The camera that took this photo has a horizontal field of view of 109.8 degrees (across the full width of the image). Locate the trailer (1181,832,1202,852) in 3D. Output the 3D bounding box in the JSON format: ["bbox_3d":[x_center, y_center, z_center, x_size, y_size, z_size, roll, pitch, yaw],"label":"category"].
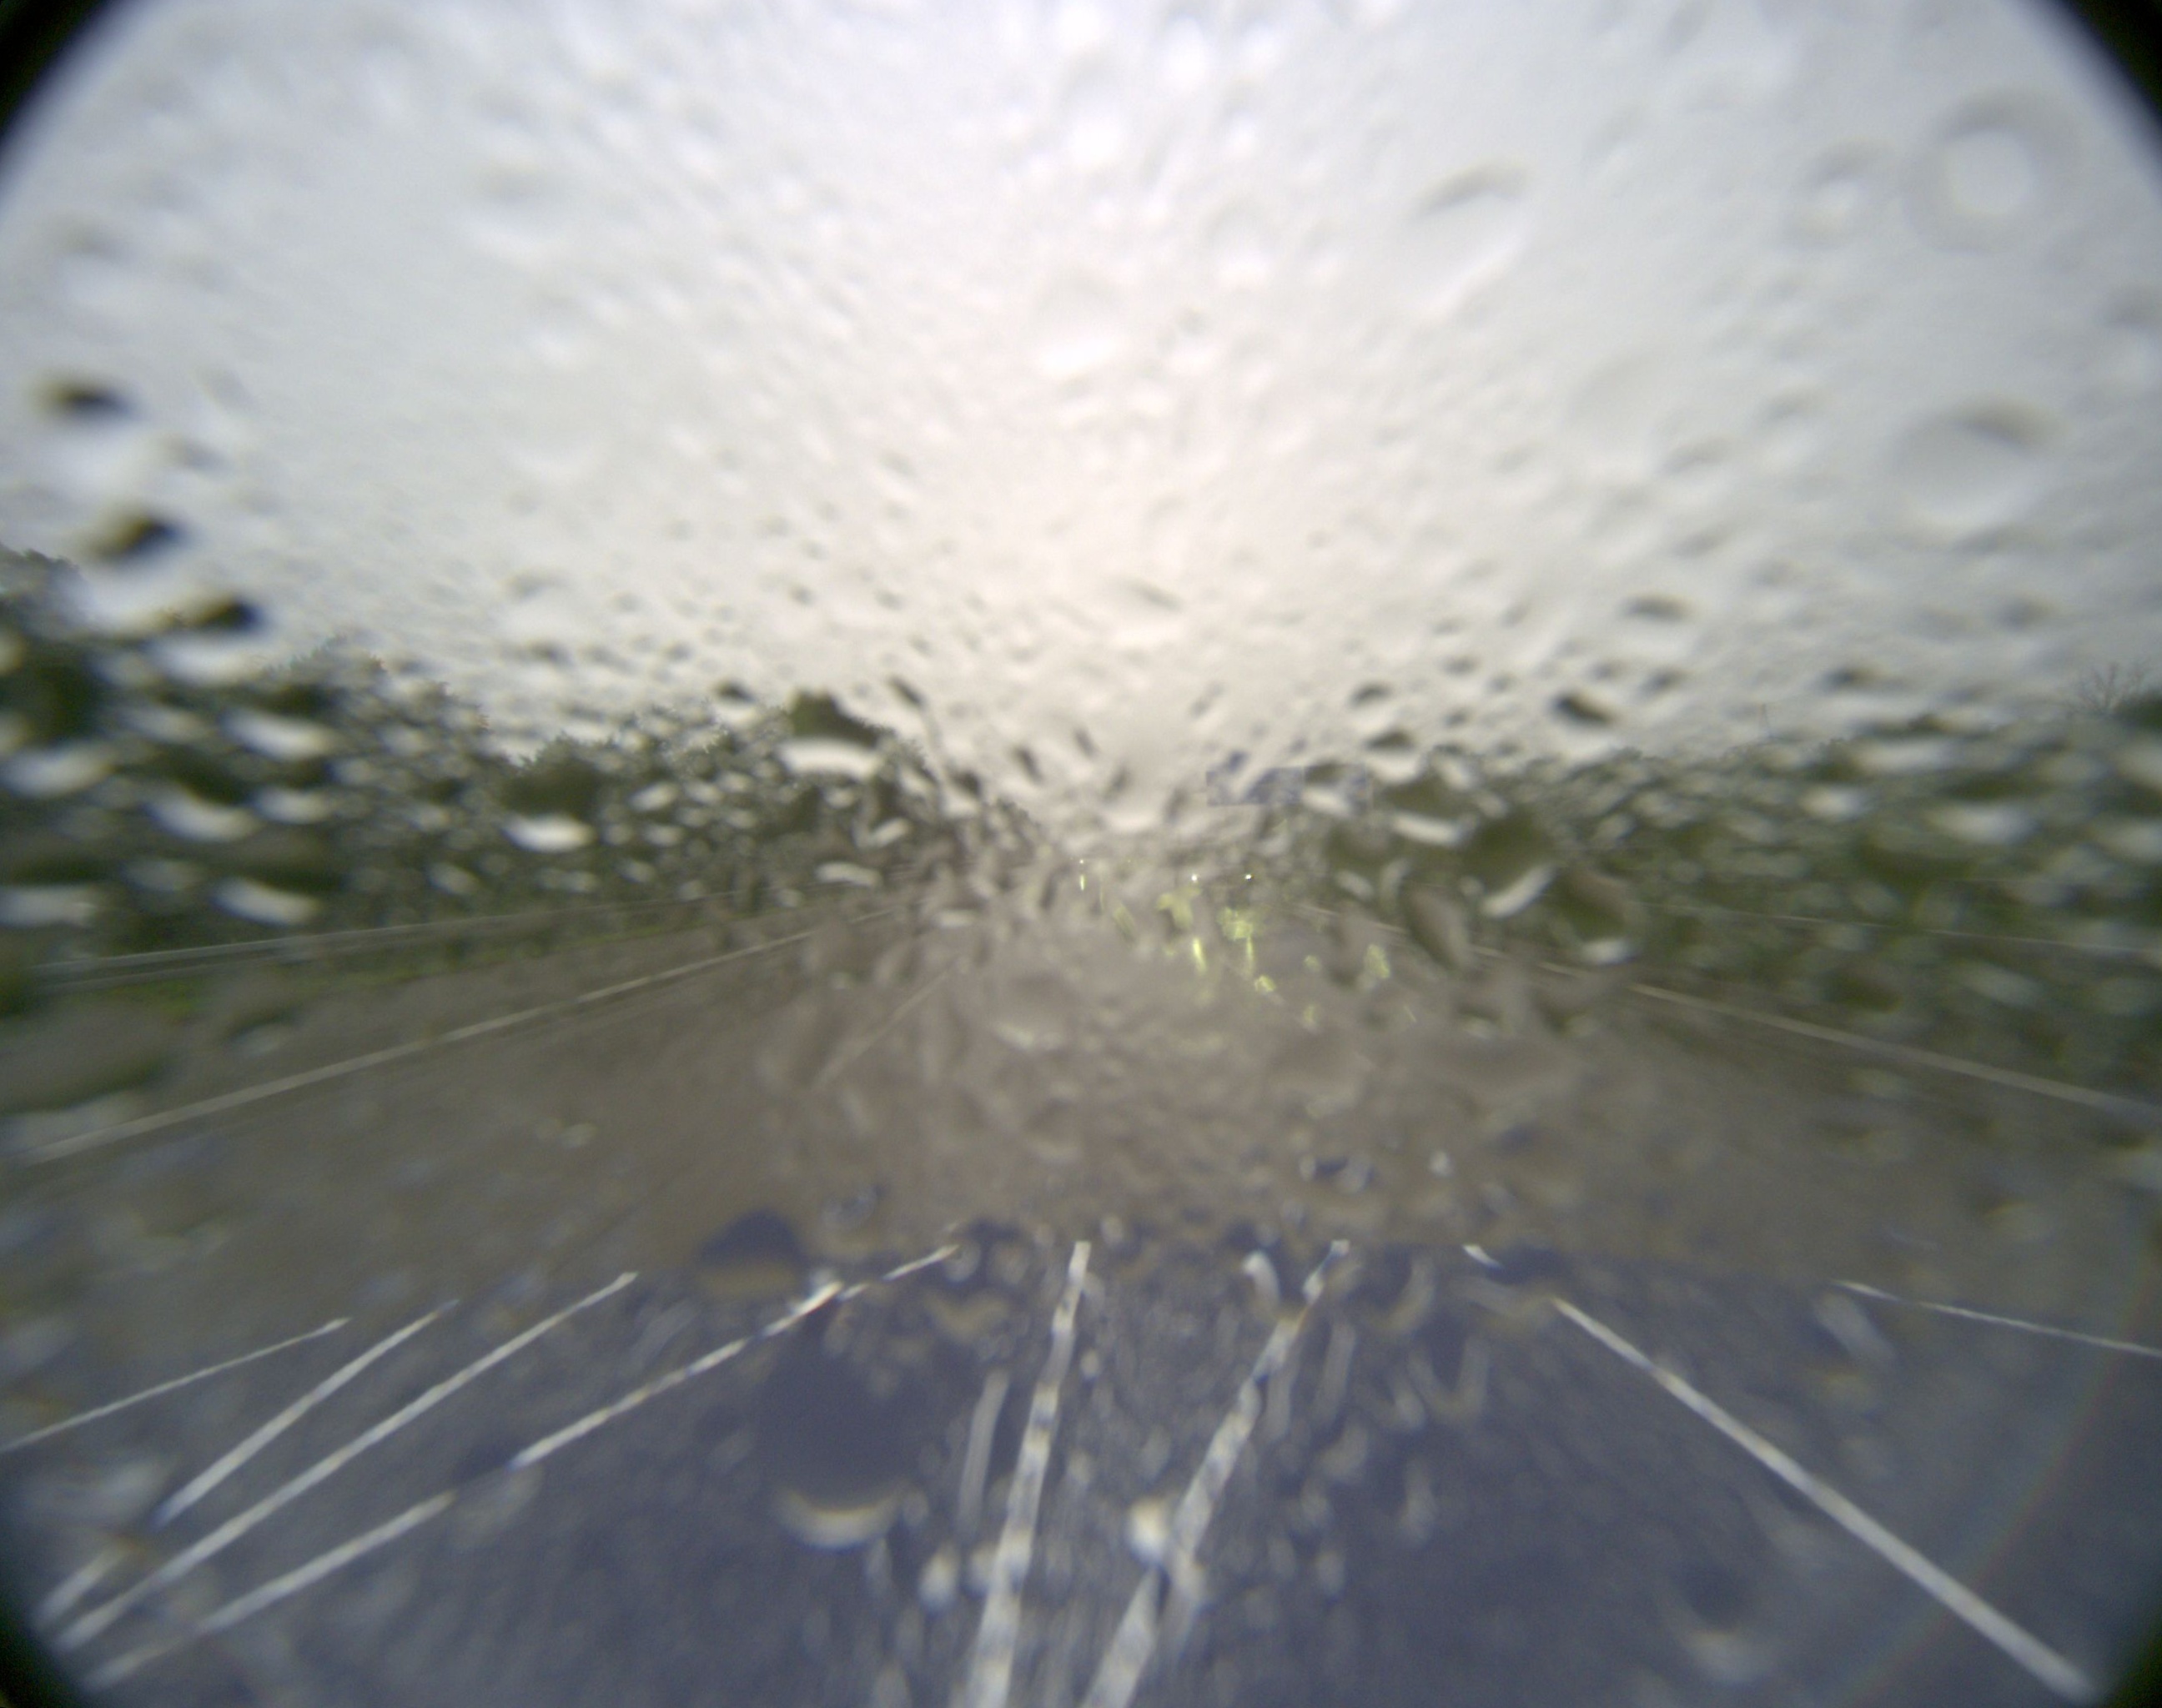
[{"bbox_3d":[21.723,-2.269,150.229,2.338,3.700,13.930,-5,0,3],"label":"trailer"}]

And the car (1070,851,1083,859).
[{"bbox_3d":[-0.761,0.194,128.001,1.752,1.205,4.001,-5,0,5],"label":"car"}]

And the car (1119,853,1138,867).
[{"bbox_3d":[4.634,0.578,73.767,1.752,1.369,4.002,0,0,5],"label":"car"}]

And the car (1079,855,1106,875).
[{"bbox_3d":[0.894,0.773,56.655,1.752,1.406,4.001,-1,0,5],"label":"car"}]

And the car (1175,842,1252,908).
[{"bbox_3d":[3.920,0.549,23.127,2.046,1.763,4.502,-2,1,7],"label":"car"}]

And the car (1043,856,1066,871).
[{"bbox_3d":[-2.610,0.914,75.776,1.752,1.205,4.001,-5,0,5],"label":"car"}]

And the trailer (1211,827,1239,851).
[{"bbox_3d":[25.637,-2.553,135.929,2.932,3.734,13.543,-5,0,3],"label":"trailer"}]
